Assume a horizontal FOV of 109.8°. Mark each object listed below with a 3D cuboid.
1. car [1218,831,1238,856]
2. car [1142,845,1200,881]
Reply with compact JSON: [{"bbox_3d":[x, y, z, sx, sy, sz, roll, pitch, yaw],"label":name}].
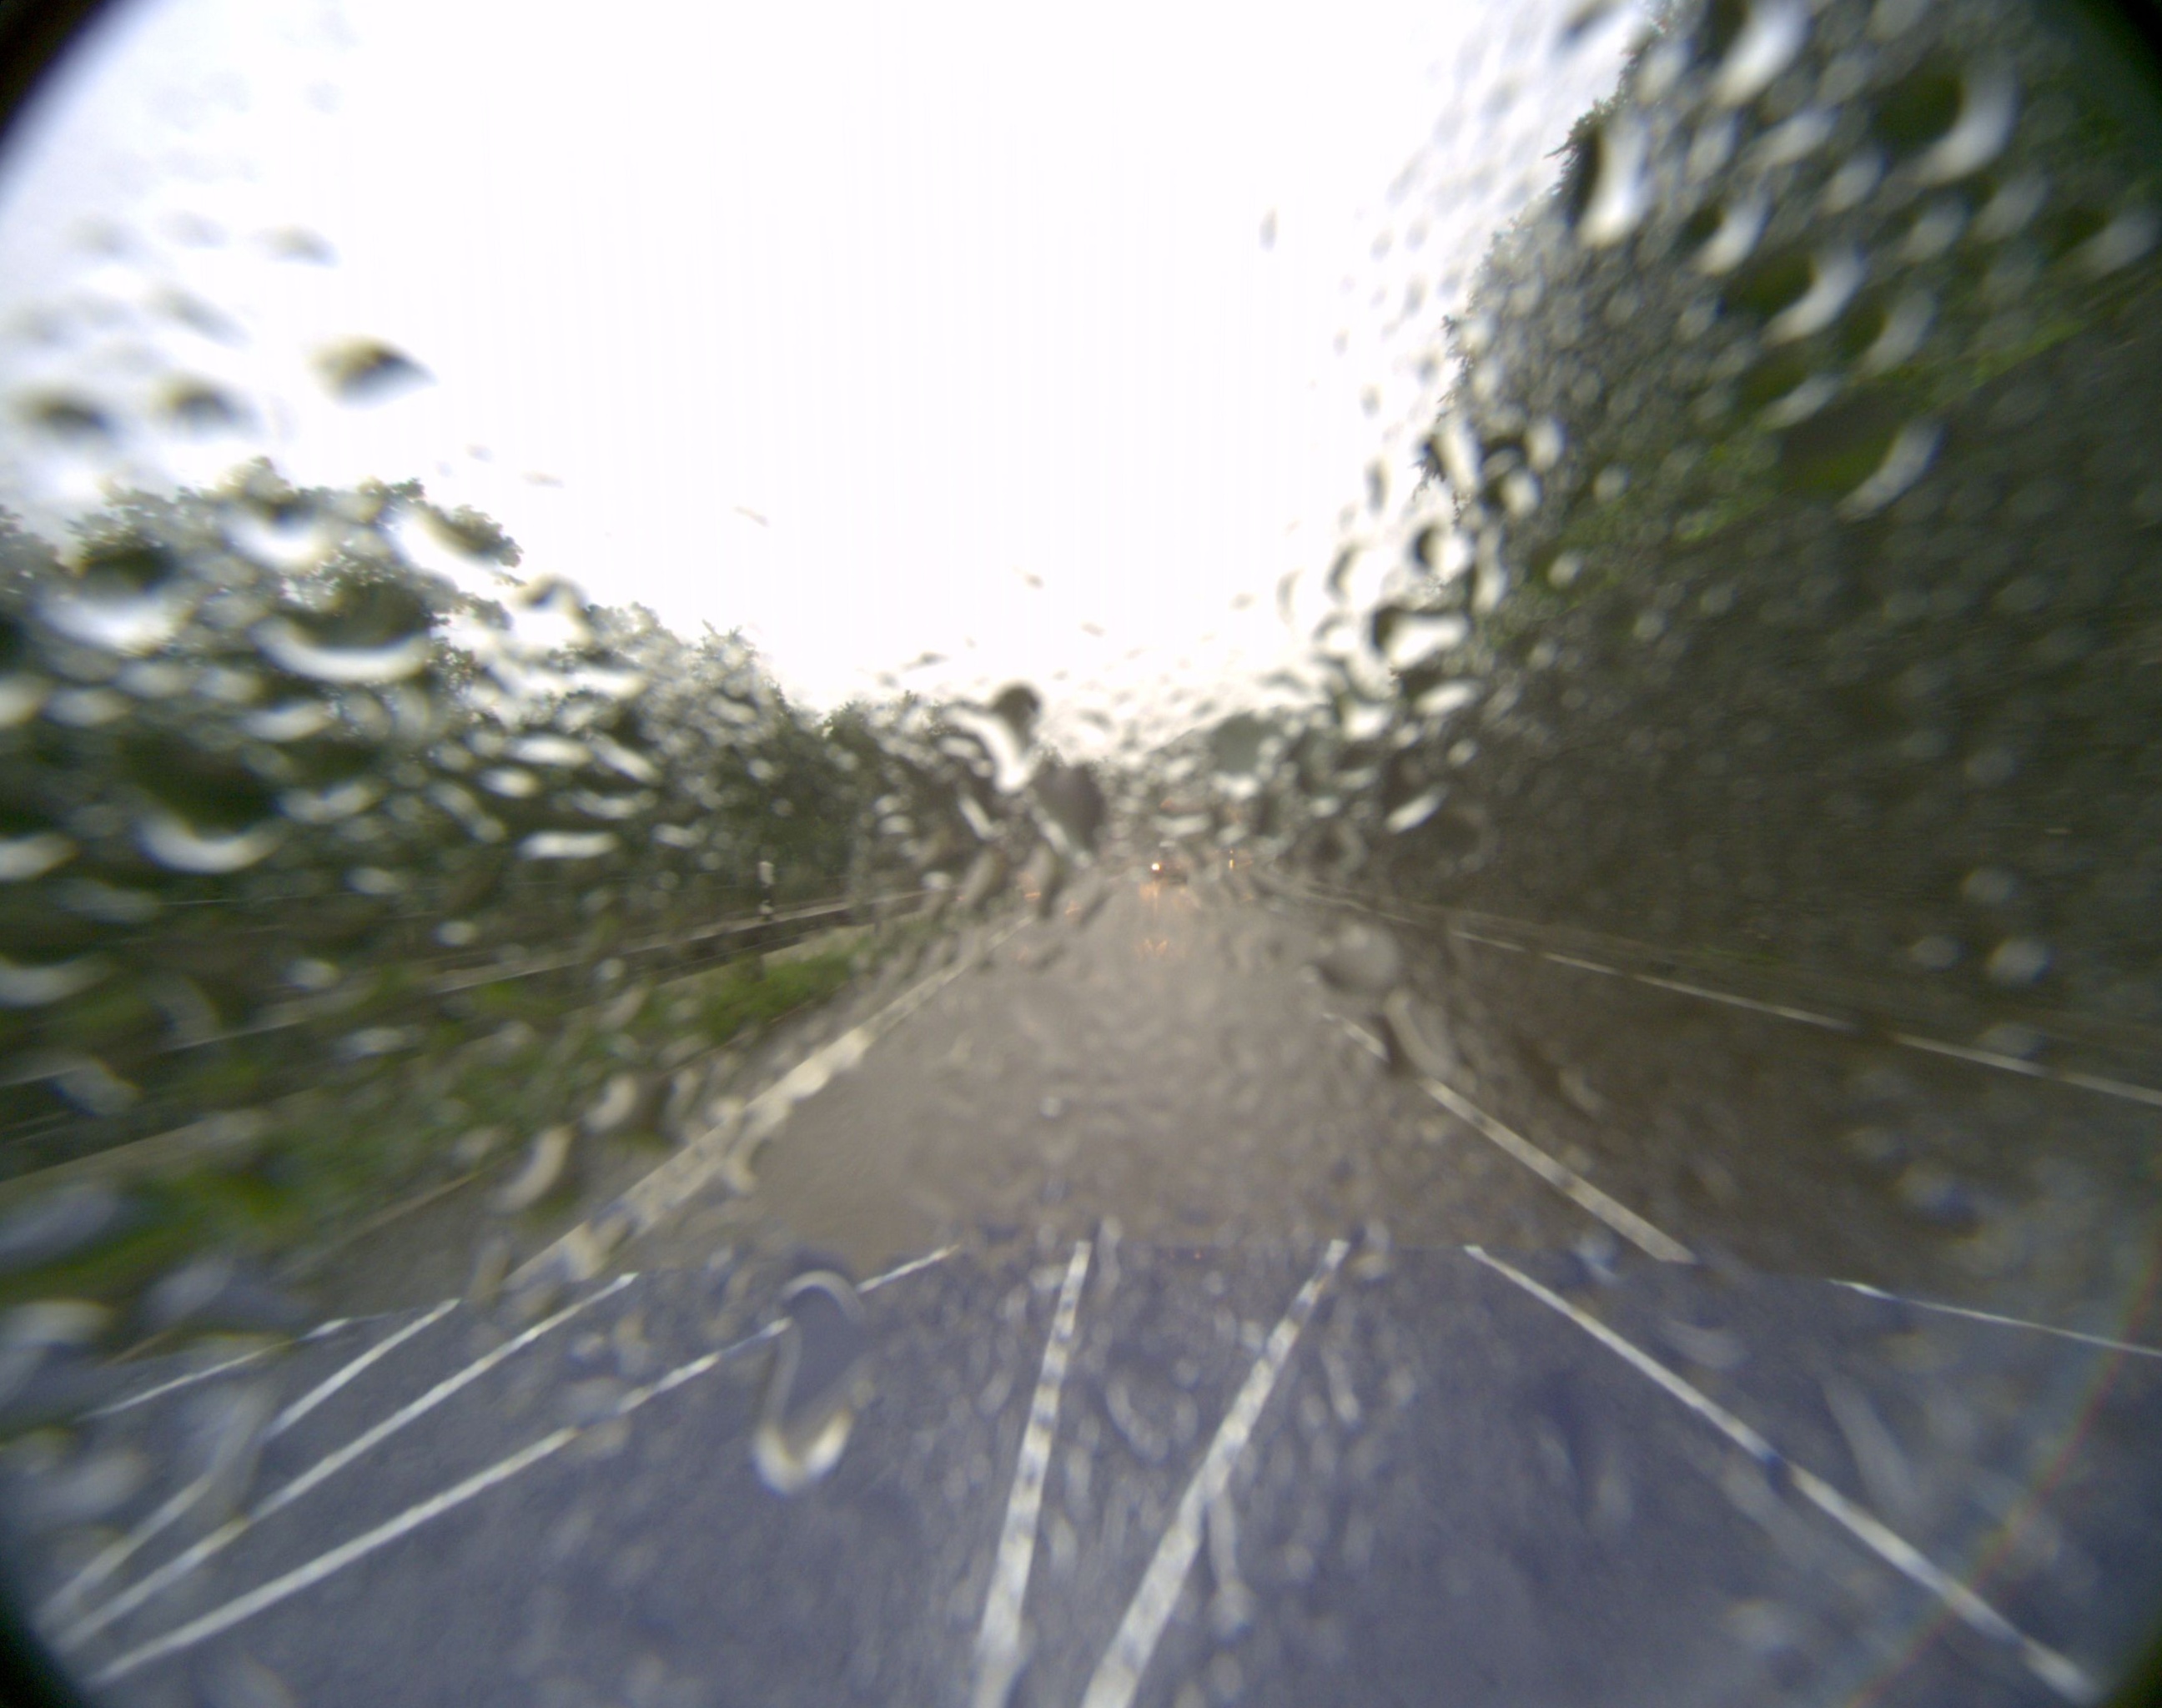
[{"bbox_3d":[18.459,-1.366,95.352,1.739,3.008,4.005,-1,1,21],"label":"car"},{"bbox_3d":[4.534,0.388,37.465,2.358,1.549,5.503,-2,0,11],"label":"car"}]
